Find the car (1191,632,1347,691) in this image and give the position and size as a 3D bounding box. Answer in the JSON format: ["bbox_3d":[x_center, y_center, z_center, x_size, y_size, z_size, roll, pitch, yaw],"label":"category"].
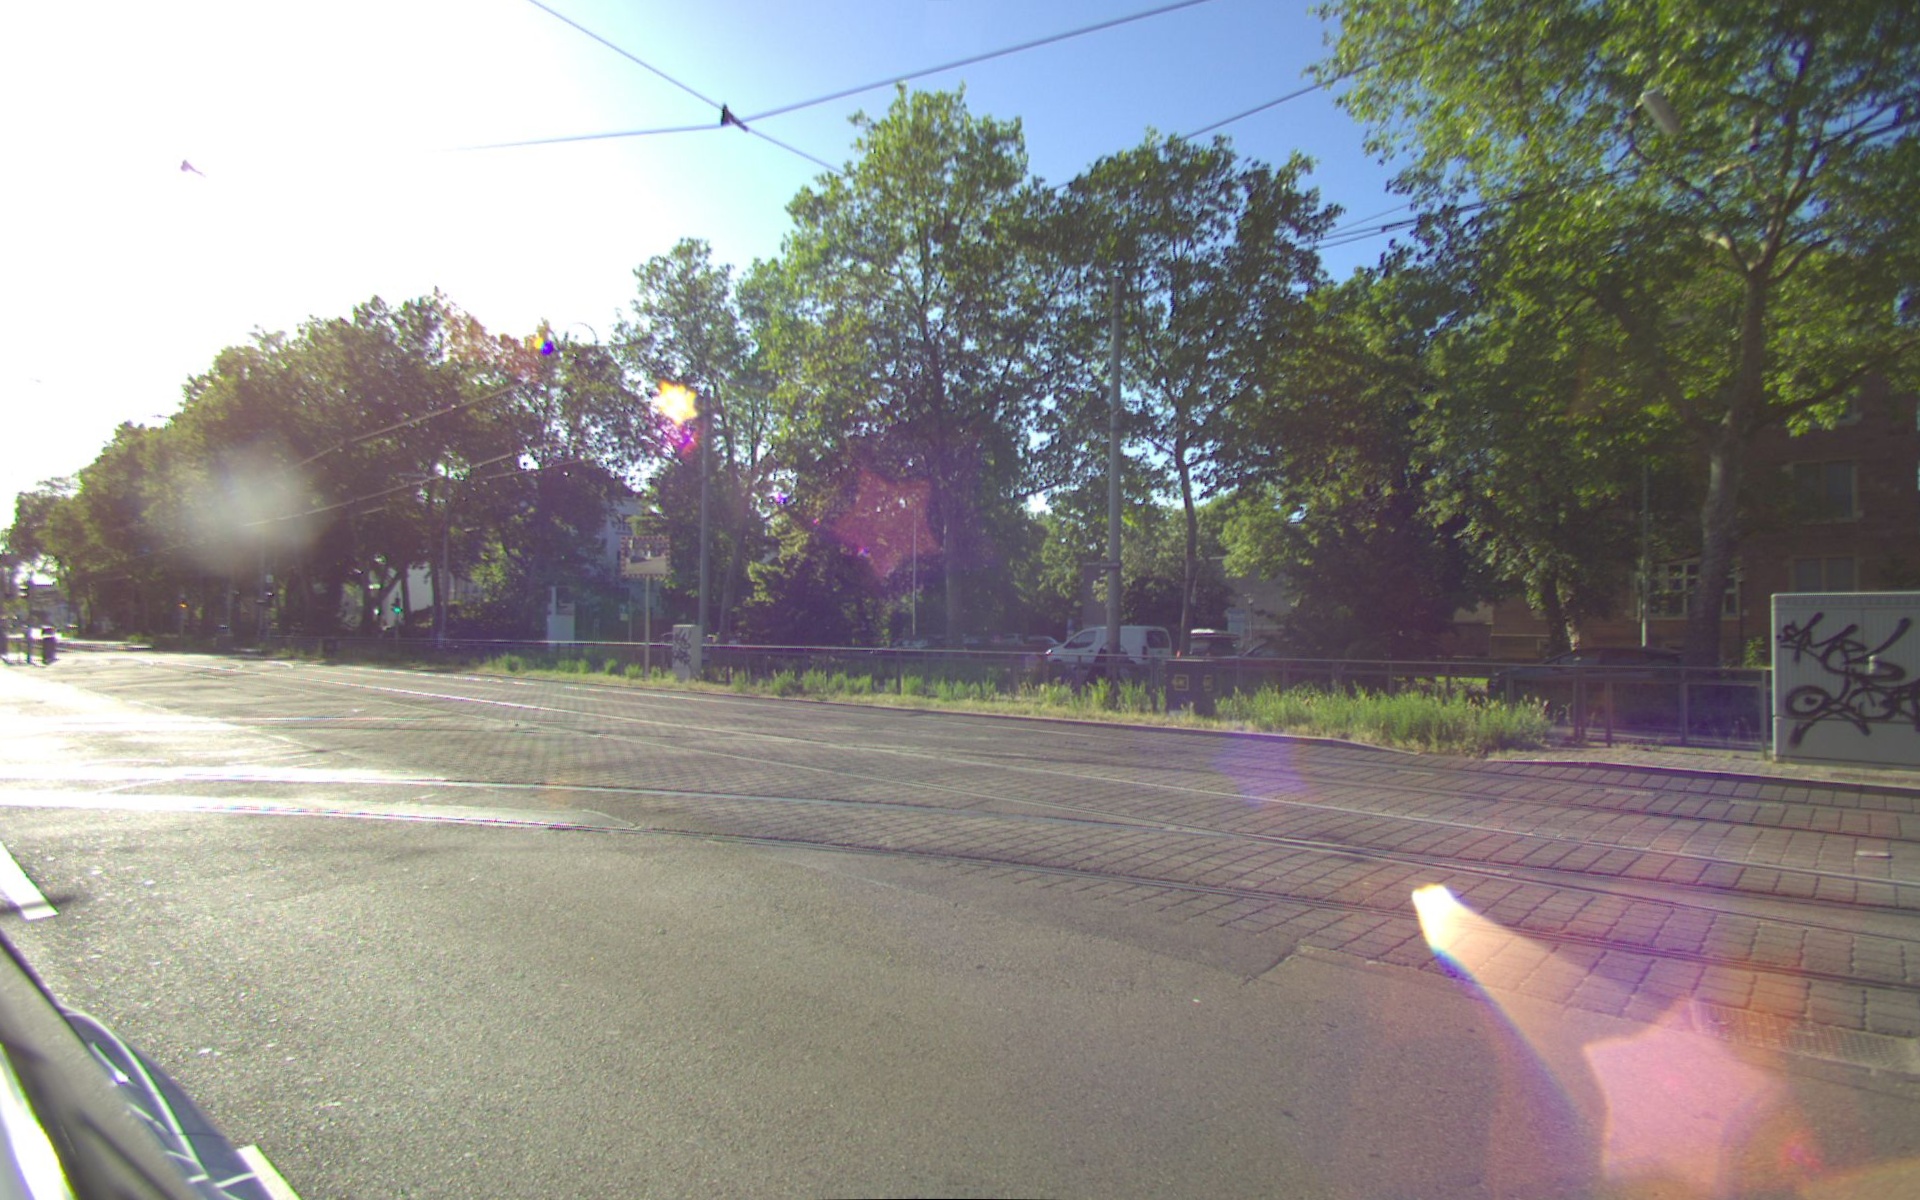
[{"bbox_3d":[8.517,1.659,28.108,1.573,1.482,3.824,-1,-1,-44],"label":"car"}]

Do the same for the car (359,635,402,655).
[{"bbox_3d":[-44.741,3.444,78.115,3.754,1.482,1.700,-2,-1,41],"label":"car"}]

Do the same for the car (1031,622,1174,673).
[{"bbox_3d":[4.518,1.507,32.590,4.347,1.482,1.722,-2,-1,44],"label":"car"}]

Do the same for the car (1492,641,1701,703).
[{"bbox_3d":[14.309,1.569,22.863,3.763,1.231,1.602,-2,-2,43],"label":"car"}]

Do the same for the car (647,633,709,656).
[{"bbox_3d":[-13.670,2.136,48.971,3.129,1.057,1.483,-2,-1,43],"label":"car"}]

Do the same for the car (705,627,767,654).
[{"bbox_3d":[-13.305,2.395,59.966,3.740,1.482,1.722,-2,-1,43],"label":"car"}]

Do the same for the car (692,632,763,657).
[{"bbox_3d":[-10.613,2.012,46.095,3.405,1.037,1.464,-2,-1,43],"label":"car"}]
